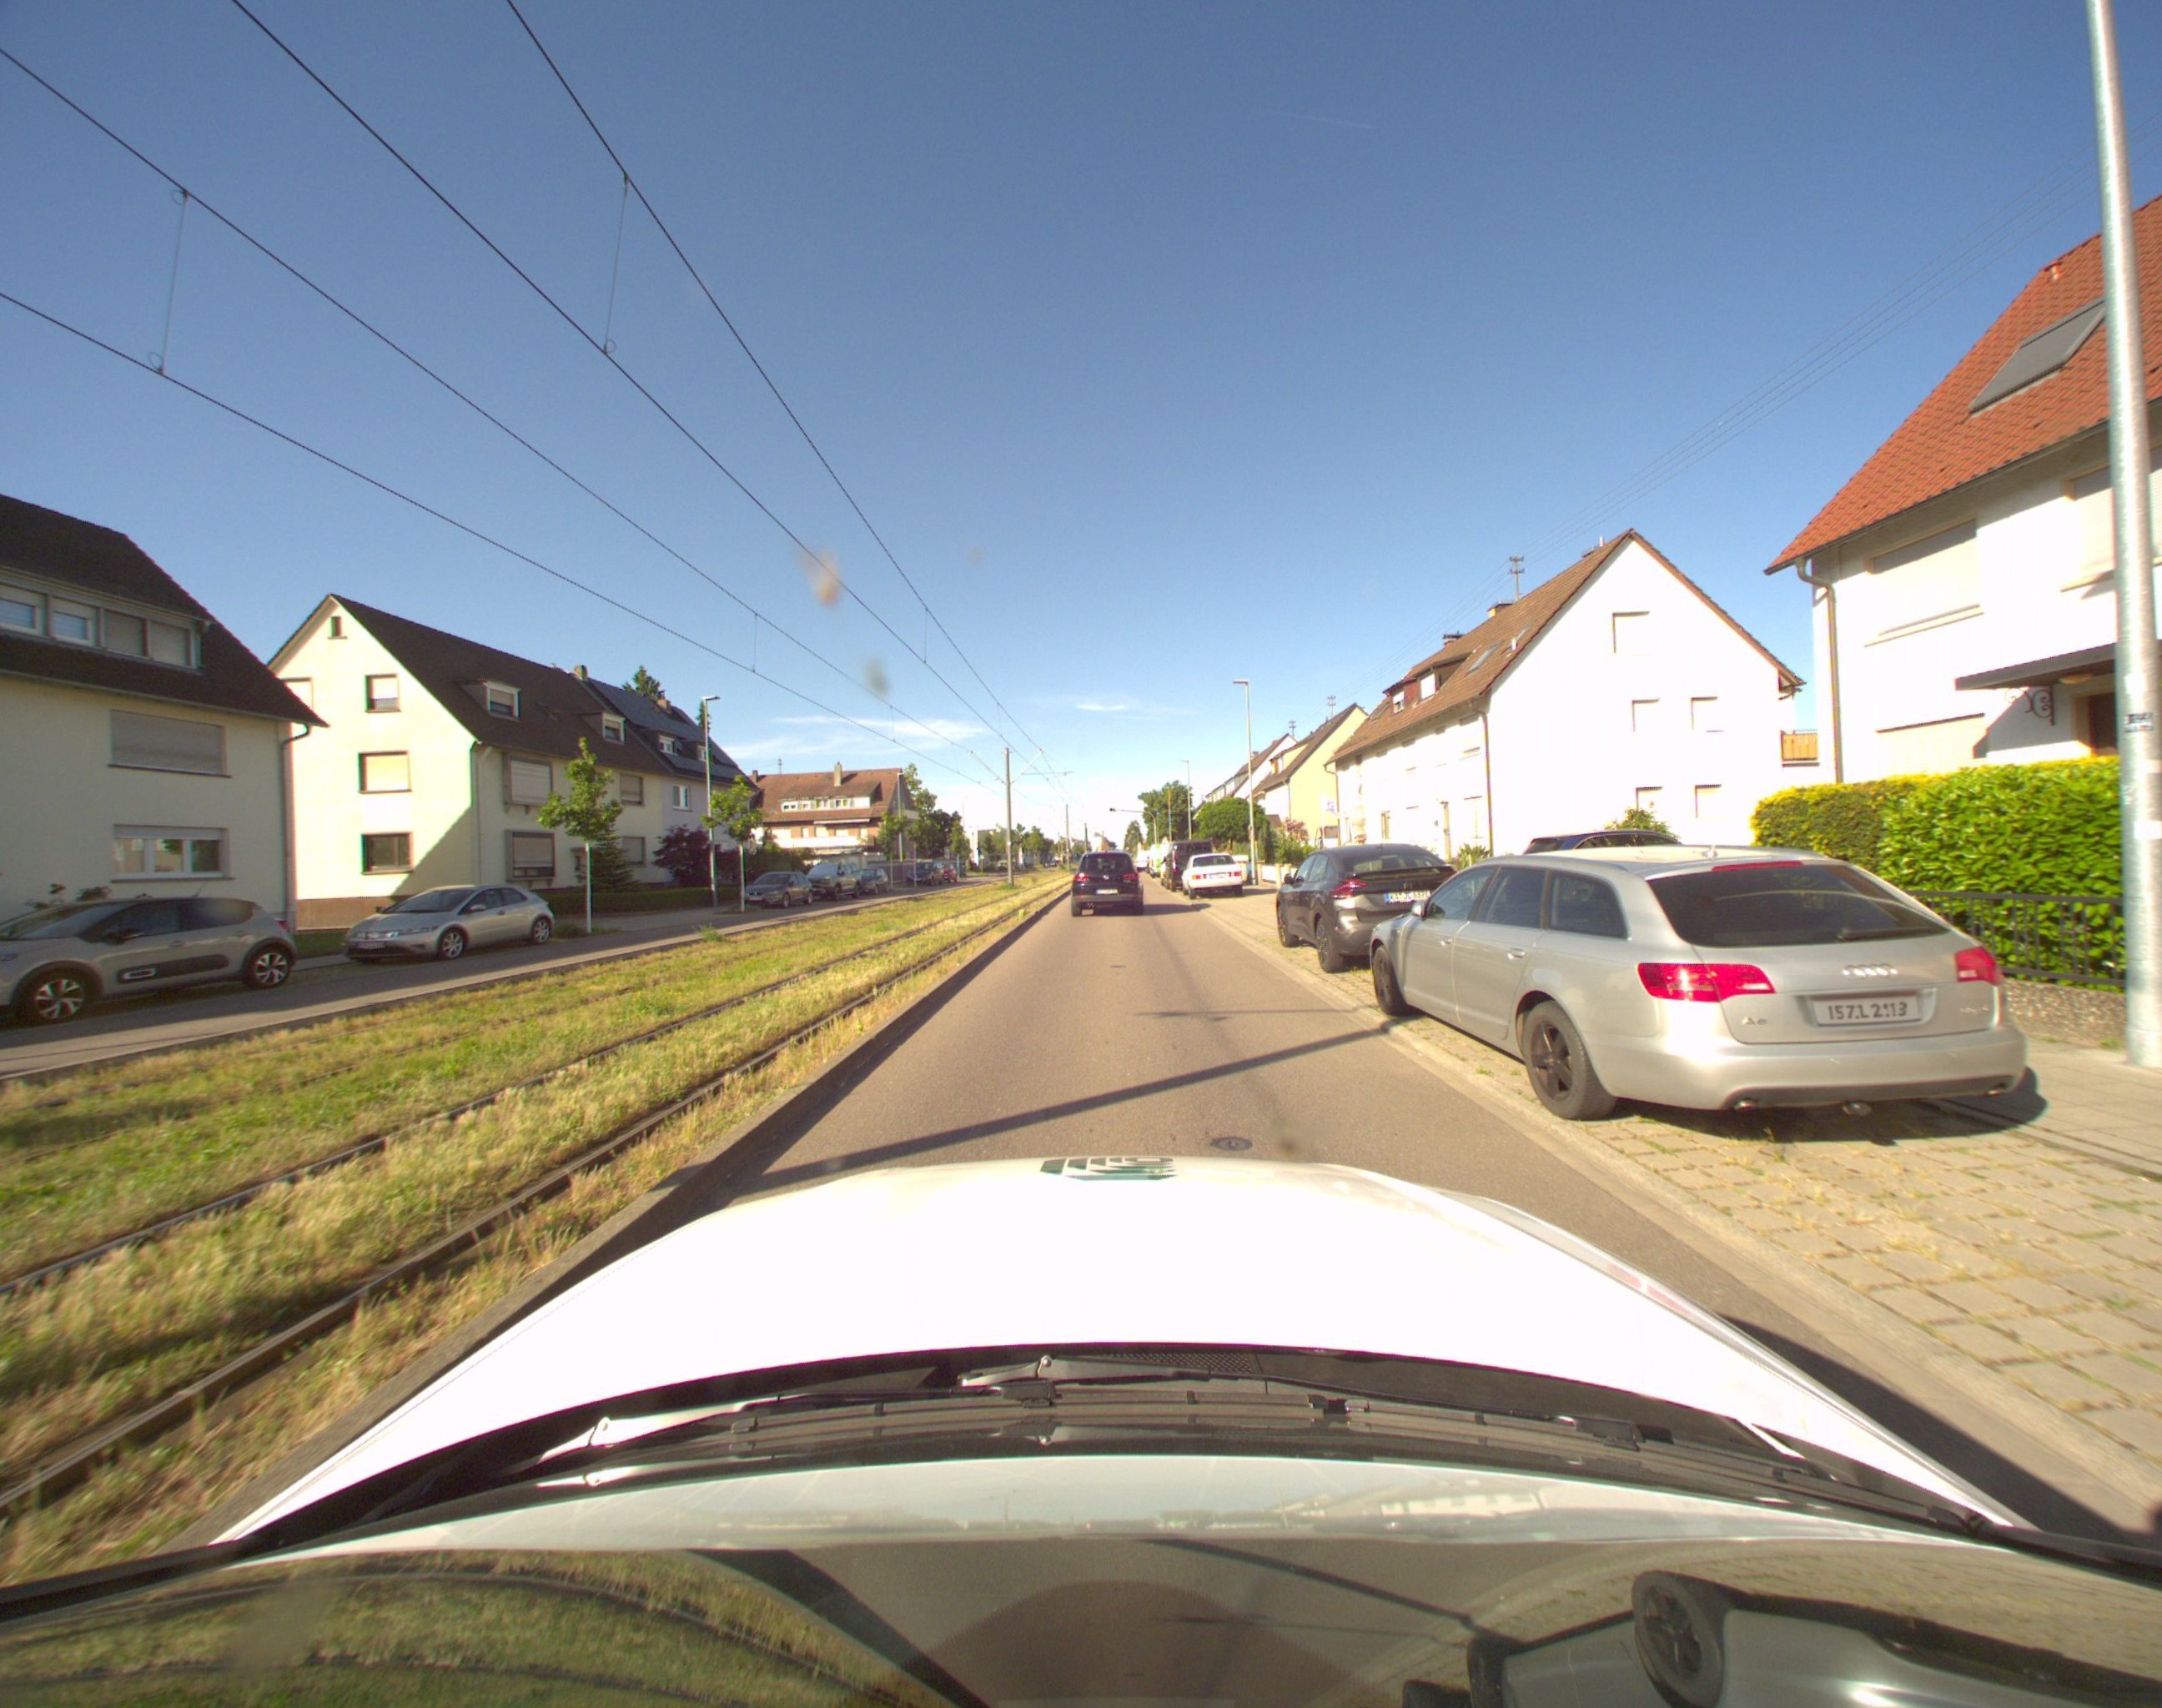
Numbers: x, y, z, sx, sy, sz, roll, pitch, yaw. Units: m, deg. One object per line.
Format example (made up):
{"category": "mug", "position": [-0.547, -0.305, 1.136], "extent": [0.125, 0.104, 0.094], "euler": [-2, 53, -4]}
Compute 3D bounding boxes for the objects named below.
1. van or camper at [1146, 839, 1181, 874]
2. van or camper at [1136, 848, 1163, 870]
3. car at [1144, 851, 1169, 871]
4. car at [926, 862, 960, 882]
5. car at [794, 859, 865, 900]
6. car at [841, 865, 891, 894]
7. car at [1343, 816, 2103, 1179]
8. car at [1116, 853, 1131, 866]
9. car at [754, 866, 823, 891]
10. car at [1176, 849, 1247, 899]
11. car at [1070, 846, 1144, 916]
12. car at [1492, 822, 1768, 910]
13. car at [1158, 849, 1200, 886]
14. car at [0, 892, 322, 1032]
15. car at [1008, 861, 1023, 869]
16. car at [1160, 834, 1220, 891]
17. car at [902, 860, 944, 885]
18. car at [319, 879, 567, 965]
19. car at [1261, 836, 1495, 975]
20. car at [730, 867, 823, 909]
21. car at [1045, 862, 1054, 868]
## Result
{"category": "van or camper", "position": [5.771, 0.199, 57.591], "extent": [1.985, 2.271, 6.309], "euler": [-4, -1, 3]}
{"category": "van or camper", "position": [6.649, 0.475, 78.254], "extent": [2.015, 1.956, 5.310], "euler": [-2, 0, 10]}
{"category": "car", "position": [6.277, 0.571, 67.978], "extent": [1.741, 1.494, 5.158], "euler": [-4, -1, 3]}
{"category": "car", "position": [-10.876, 1.376, 64.389], "extent": [1.688, 1.405, 4.082], "euler": [-2, 0, 3]}
{"category": "car", "position": [-12.056, 1.167, 39.374], "extent": [1.738, 1.823, 4.844], "euler": [0, 0, 3]}
{"category": "car", "position": [-11.861, 1.395, 45.143], "extent": [1.670, 1.491, 4.050], "euler": [0, 0, 0]}
{"category": "car", "position": [3.460, 0.579, 5.783], "extent": [1.742, 1.447, 4.700], "euler": [-3, 1, 1]}
{"category": "car", "position": [5.916, 0.765, 113.982], "extent": [1.623, 1.828, 4.128], "euler": [-2, 0, -2]}
{"category": "car", "position": [-17.919, 1.510, 50.032], "extent": [3.623, 1.461, 1.690], "euler": [-1, -1, -3]}
{"category": "car", "position": [4.429, 0.622, 28.497], "extent": [1.844, 1.443, 5.619], "euler": [-4, 0, 4]}
{"category": "car", "position": [0.662, 0.672, 21.793], "extent": [1.769, 1.670, 4.000], "euler": [-1, -1, 1]}
{"category": "car", "position": [11.534, 0.249, 17.375], "extent": [4.401, 1.655, 2.195], "euler": [-2, -1, -1]}
{"category": "car", "position": [4.884, 0.657, 41.055], "extent": [1.719, 1.645, 4.321], "euler": [-3, -1, 2]}
{"category": "car", "position": [-13.335, 1.349, 11.205], "extent": [1.683, 1.473, 4.315], "euler": [-1, -1, 1]}
{"category": "car", "position": [-11.678, 1.960, 144.530], "extent": [1.801, 1.461, 4.326], "euler": [-1, -1, 7]}
{"category": "car", "position": [4.575, 0.347, 34.937], "extent": [1.952, 2.144, 5.338], "euler": [-3, -1, 2]}
{"category": "car", "position": [-11.251, 1.287, 58.437], "extent": [1.812, 1.684, 4.850], "euler": [0, 0, 3]}
{"category": "car", "position": [-13.134, 1.318, 17.203], "extent": [1.683, 1.475, 4.443], "euler": [-1, -1, 1]}
{"category": "car", "position": [3.848, 0.581, 11.506], "extent": [1.770, 1.498, 4.732], "euler": [-2, 0, 3]}
{"category": "car", "position": [-12.382, 1.346, 33.453], "extent": [1.952, 1.540, 4.559], "euler": [-1, -1, 2]}
{"category": "car", "position": [-7.982, 2.694, 207.767], "extent": [1.680, 1.389, 4.393], "euler": [-4, -1, 4]}
